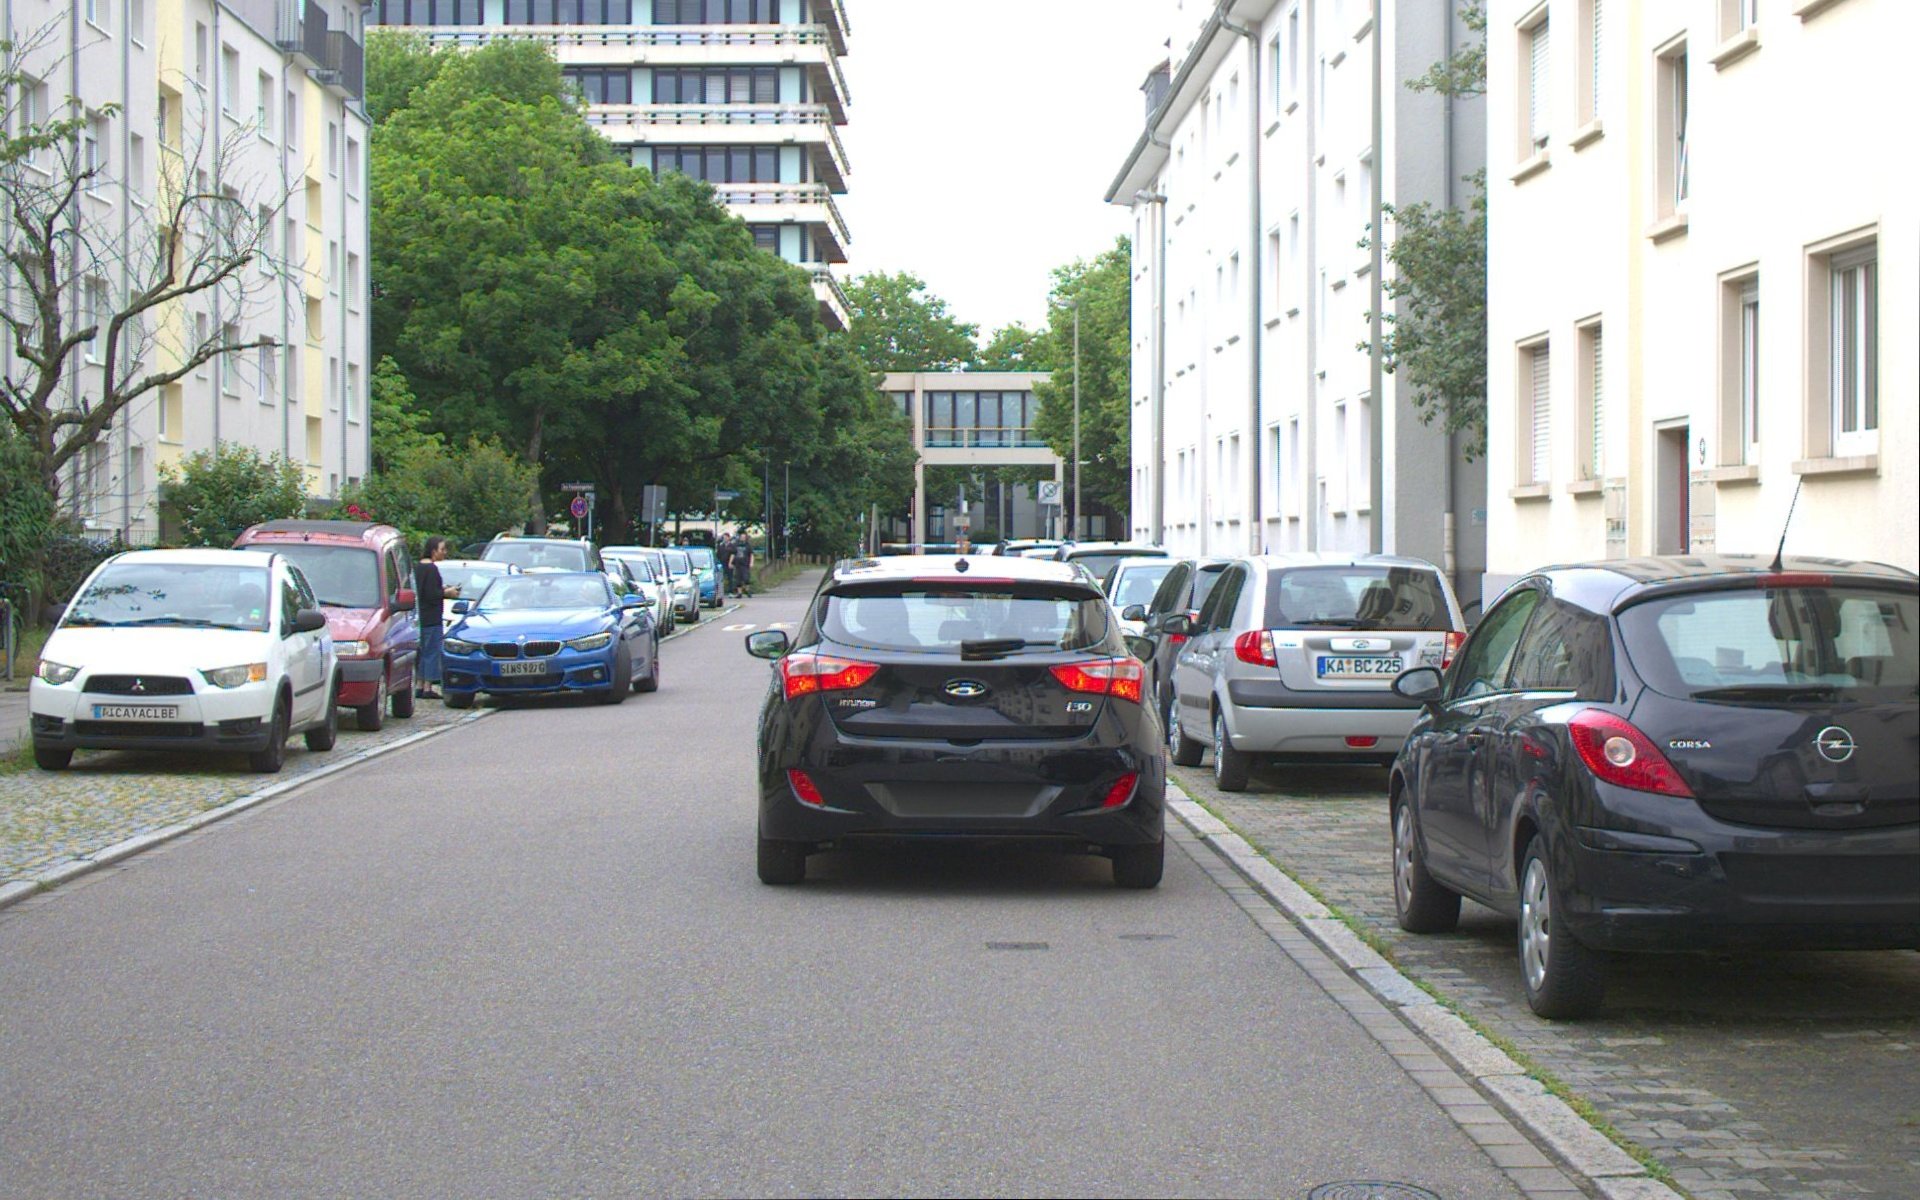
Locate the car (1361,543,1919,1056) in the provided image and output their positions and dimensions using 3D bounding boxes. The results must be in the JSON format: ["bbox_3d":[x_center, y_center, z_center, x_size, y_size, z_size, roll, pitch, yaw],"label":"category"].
[{"bbox_3d":[2.582,0.562,12.308,1.725,1.512,4.061,0,1,-1],"label":"car"}]

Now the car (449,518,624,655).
[{"bbox_3d":[-5.815,-0.217,47.657,1.895,1.734,4.475,2,1,-1],"label":"car"}]

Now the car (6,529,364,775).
[{"bbox_3d":[-5.449,0.311,24.621,1.720,1.564,3.871,2,1,-1],"label":"car"}]

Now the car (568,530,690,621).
[{"bbox_3d":[-6.249,-0.483,65.294,1.895,1.593,4.521,2,1,-1],"label":"car"}]

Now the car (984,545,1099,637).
[{"bbox_3d":[1.338,-0.175,58.057,1.820,1.498,4.091,0,1,0],"label":"car"}]

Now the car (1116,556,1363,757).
[{"bbox_3d":[2.203,0.402,27.949,1.603,1.471,3.869,1,1,-1],"label":"car"}]

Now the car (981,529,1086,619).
[{"bbox_3d":[1.311,-0.497,63.098,1.820,1.597,4.091,0,1,0],"label":"car"}]

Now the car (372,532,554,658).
[{"bbox_3d":[-6.037,-0.100,42.109,1.744,1.459,3.786,0,1,-1],"label":"car"}]

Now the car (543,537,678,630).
[{"bbox_3d":[-5.977,-0.314,59.175,1.895,1.447,4.521,2,1,-1],"label":"car"}]

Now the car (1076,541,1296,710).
[{"bbox_3d":[2.081,0.187,32.765,1.725,1.471,4.505,1,1,-1],"label":"car"}]

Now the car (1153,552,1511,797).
[{"bbox_3d":[2.334,0.420,22.486,1.848,1.445,3.833,0,1,-1],"label":"car"}]

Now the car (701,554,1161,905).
[{"bbox_3d":[-0.135,0.512,16.400,1.903,1.428,4.233,0,1,0],"label":"car"}]

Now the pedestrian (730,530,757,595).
[{"bbox_3d":[-6.169,-1.076,98.097,0.714,1.825,0.797,0,1,1],"label":"pedestrian"}]

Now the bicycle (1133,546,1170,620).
[{"bbox_3d":[3.146,-0.287,56.336,0.530,1.171,2.036,-1,1,5],"label":"bicycle"}]

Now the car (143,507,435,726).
[{"bbox_3d":[-5.849,0.096,30.451,1.956,1.764,4.362,1,1,-3],"label":"car"}]

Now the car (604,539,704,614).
[{"bbox_3d":[-6.513,-0.528,73.602,1.993,1.536,4.001,1,1,-3],"label":"car"}]

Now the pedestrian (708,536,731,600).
[{"bbox_3d":[-6.872,-0.926,98.255,0.605,1.825,0.675,0,1,1],"label":"pedestrian"}]

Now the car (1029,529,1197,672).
[{"bbox_3d":[1.816,-0.038,41.923,1.820,1.636,4.091,1,1,0],"label":"car"}]

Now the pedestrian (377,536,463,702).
[{"bbox_3d":[-5.595,0.187,35.610,0.740,1.696,0.796,-1,1,-18],"label":"pedestrian"}]

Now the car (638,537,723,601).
[{"bbox_3d":[-6.958,-0.785,85.915,1.993,1.536,4.001,1,1,-3],"label":"car"}]

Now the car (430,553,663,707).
[{"bbox_3d":[-4.202,0.265,35.570,1.845,1.446,4.501,1,1,0],"label":"car"}]
